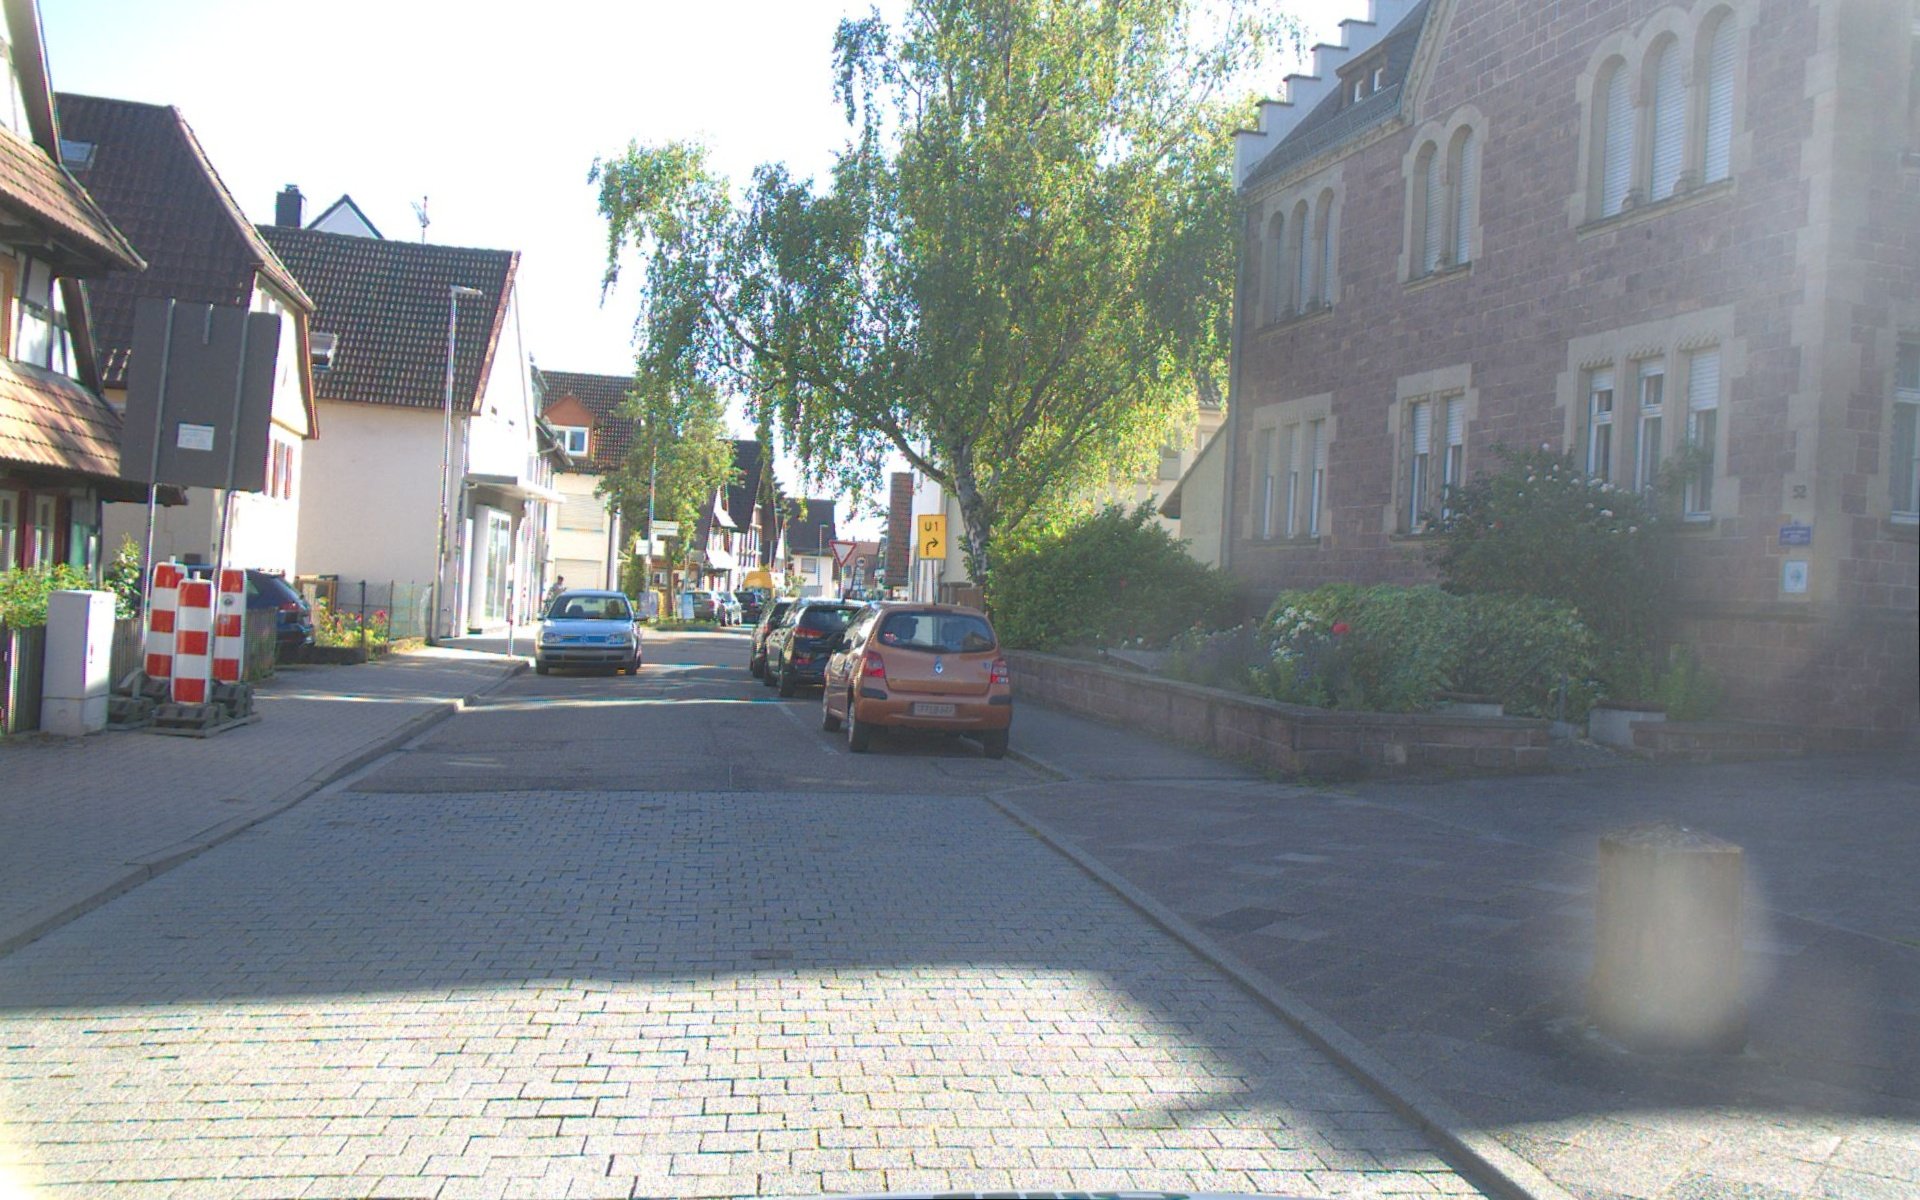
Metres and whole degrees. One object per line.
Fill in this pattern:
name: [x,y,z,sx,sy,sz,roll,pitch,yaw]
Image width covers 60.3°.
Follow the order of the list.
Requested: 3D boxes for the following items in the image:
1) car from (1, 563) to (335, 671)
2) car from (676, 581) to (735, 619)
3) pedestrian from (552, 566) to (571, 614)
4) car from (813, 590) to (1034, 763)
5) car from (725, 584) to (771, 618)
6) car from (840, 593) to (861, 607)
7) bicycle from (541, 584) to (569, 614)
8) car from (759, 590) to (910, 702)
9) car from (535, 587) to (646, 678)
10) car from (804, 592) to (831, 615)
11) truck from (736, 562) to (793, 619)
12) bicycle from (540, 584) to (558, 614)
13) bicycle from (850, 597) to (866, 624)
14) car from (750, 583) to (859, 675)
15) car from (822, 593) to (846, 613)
car: [-11.447,0.242,24.192,4.088,1.487,1.842,1,1,-15]
car: [-11.181,0.031,72.864,1.829,1.532,4.107,3,-1,1]
pedestrian: [-14.556,-0.360,60.472,0.474,1.722,0.556,3,-2,-4]
car: [-0.505,0.721,17.627,1.619,1.504,3.923,3,1,-11]
car: [-11.005,0.072,86.191,1.769,1.650,3.881,3,-1,1]
car: [-13.667,0.032,206.743,1.939,1.610,3.981,4,0,-13]
bicycle: [-15.564,-0.024,63.607,0.566,1.071,2.035,3,-1,-1]
car: [-2.054,0.651,25.921,1.775,1.461,4.274,3,1,-11]
car: [-6.493,0.530,29.377,1.640,1.427,3.884,2,0,-9]
car: [-9.801,0.239,114.084,1.556,1.468,3.613,4,0,-2]
truck: [-10.804,-0.481,91.794,2.221,2.918,5.783,3,-1,1]
bicycle: [-14.960,-0.028,60.249,0.415,1.071,1.379,3,-1,-7]
bicycle: [-4.623,0.472,74.866,0.424,1.197,1.829,3,0,3]
car: [-2.941,0.476,30.555,1.773,1.461,4.279,3,1,-8]
car: [-9.584,0.233,126.013,1.556,1.468,3.613,4,0,-2]
